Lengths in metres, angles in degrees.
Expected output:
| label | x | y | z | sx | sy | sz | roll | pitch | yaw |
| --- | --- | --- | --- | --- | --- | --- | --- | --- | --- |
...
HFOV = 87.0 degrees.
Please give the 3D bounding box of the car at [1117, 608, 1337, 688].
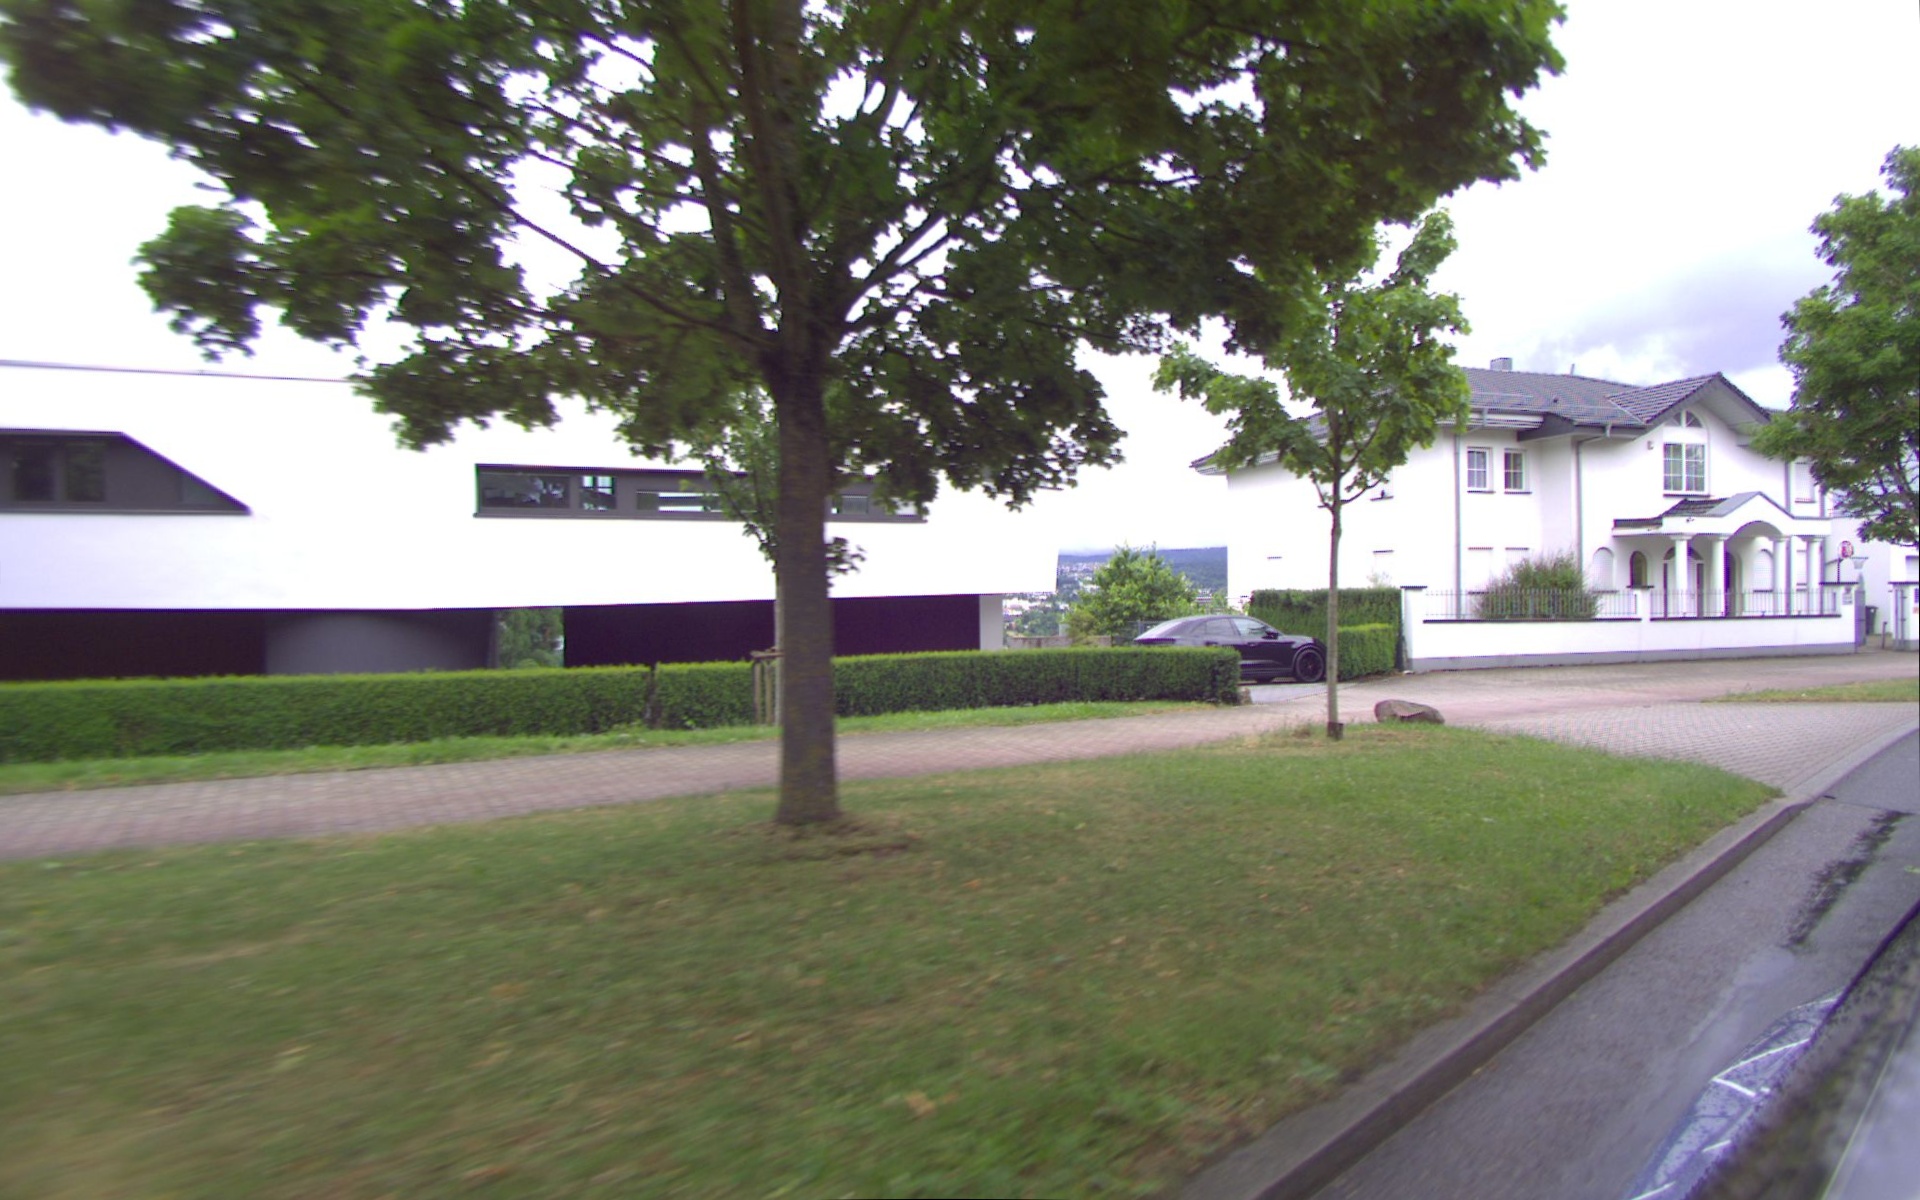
| label | x | y | z | sx | sy | sz | roll | pitch | yaw |
| --- | --- | --- | --- | --- | --- | --- | --- | --- | --- |
| car | 5.954 | 1.036 | 22.713 | 4.366 | 1.570 | 1.930 | -1 | -2 | -18 |
